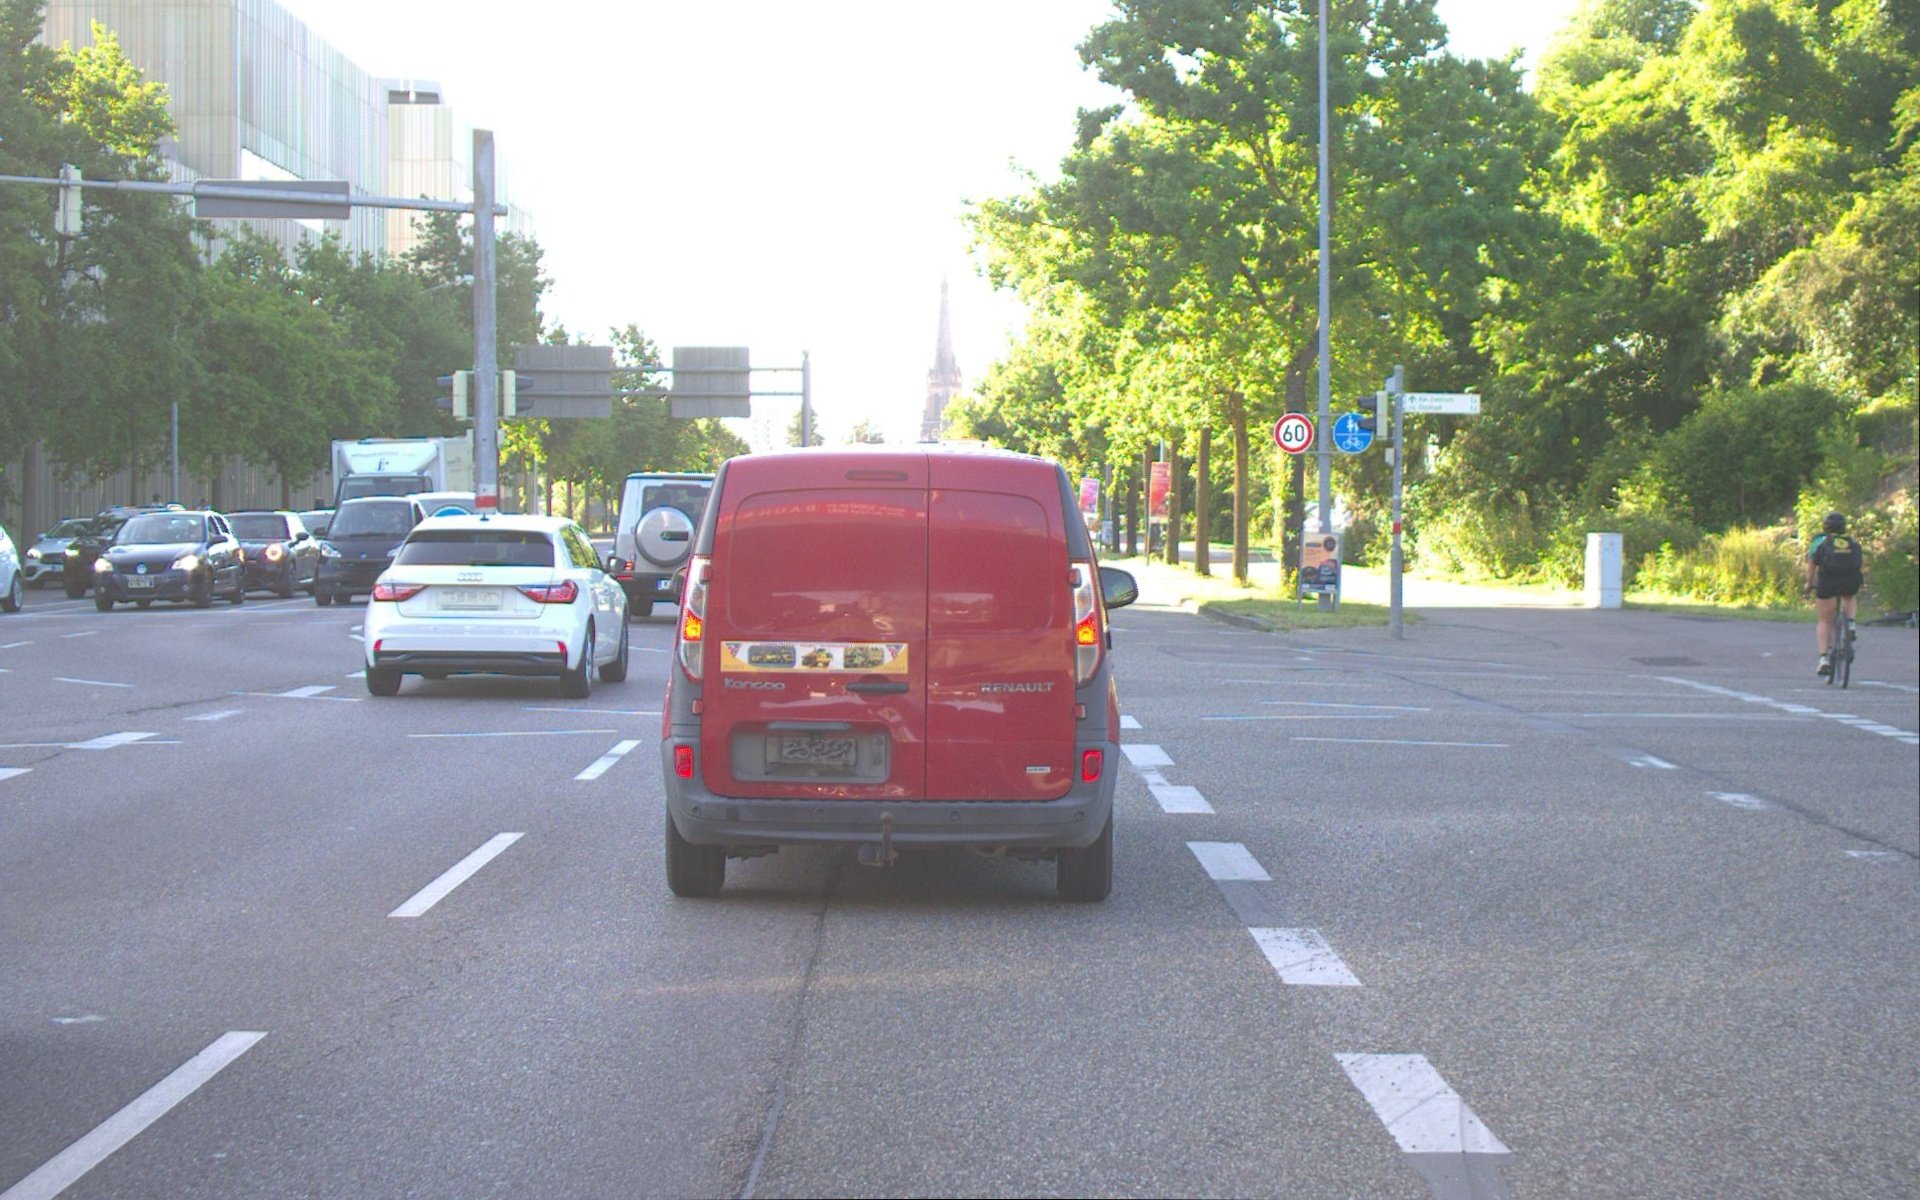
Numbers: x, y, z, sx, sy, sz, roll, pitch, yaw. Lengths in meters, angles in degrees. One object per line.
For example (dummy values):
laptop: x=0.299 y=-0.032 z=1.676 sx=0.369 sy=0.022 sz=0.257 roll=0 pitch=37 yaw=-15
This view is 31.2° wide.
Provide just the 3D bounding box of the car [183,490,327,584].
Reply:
car: x=-11.510 y=-1.037 z=56.357 sx=1.636 sy=1.438 sz=4.077 roll=-2 pitch=1 yaw=-2

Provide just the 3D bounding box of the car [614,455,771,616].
car: x=-3.483 y=-0.813 z=45.436 sx=1.801 sy=1.982 sz=4.589 roll=1 pitch=0 yaw=-2

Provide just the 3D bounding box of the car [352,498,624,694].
car: x=-3.728 y=-0.074 z=27.692 sx=1.813 sy=1.433 sz=3.731 roll=1 pitch=1 yaw=-2

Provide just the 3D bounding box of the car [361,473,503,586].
car: x=-8.855 y=-1.182 z=57.905 sx=1.757 sy=1.790 sz=4.083 roll=-2 pitch=1 yaw=-1

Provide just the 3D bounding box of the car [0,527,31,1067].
car: x=-3.485 y=0.545 z=7.488 sx=1.733 sy=1.475 sz=4.319 roll=1 pitch=0 yaw=0

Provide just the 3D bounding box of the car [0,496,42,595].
car: x=-14.433 y=-0.751 z=48.850 sx=1.646 sy=1.399 sz=3.978 roll=-2 pitch=1 yaw=0

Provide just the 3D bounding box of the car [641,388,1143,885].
car: x=-0.305 y=0.134 z=14.688 sx=1.805 sy=1.788 sz=4.000 roll=1 pitch=0 yaw=-2

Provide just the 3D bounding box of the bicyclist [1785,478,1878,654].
bicyclist: x=8.152 y=-0.311 z=32.172 sx=0.592 sy=1.608 sz=0.942 roll=1 pitch=0 yaw=0

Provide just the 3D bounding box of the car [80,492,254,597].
car: x=-11.659 y=-0.828 z=50.768 sx=1.636 sy=1.438 sz=4.077 roll=-2 pitch=1 yaw=-1

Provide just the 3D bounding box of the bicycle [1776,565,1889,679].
bicycle: x=8.154 y=0.200 z=32.179 sx=0.592 sy=1.020 sz=1.750 roll=1 pitch=0 yaw=0

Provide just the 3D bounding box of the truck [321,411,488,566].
truck: x=-11.564 y=-2.294 z=72.092 sx=2.409 sy=3.016 sz=6.657 roll=-2 pitch=1 yaw=-1

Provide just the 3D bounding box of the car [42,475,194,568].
car: x=-14.998 y=-1.394 z=61.452 sx=1.646 sy=1.540 sz=4.399 roll=-2 pitch=1 yaw=-1

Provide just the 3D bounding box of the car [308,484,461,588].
car: x=-8.477 y=-0.945 z=50.916 sx=1.636 sy=1.438 sz=3.719 roll=-2 pitch=1 yaw=-1
